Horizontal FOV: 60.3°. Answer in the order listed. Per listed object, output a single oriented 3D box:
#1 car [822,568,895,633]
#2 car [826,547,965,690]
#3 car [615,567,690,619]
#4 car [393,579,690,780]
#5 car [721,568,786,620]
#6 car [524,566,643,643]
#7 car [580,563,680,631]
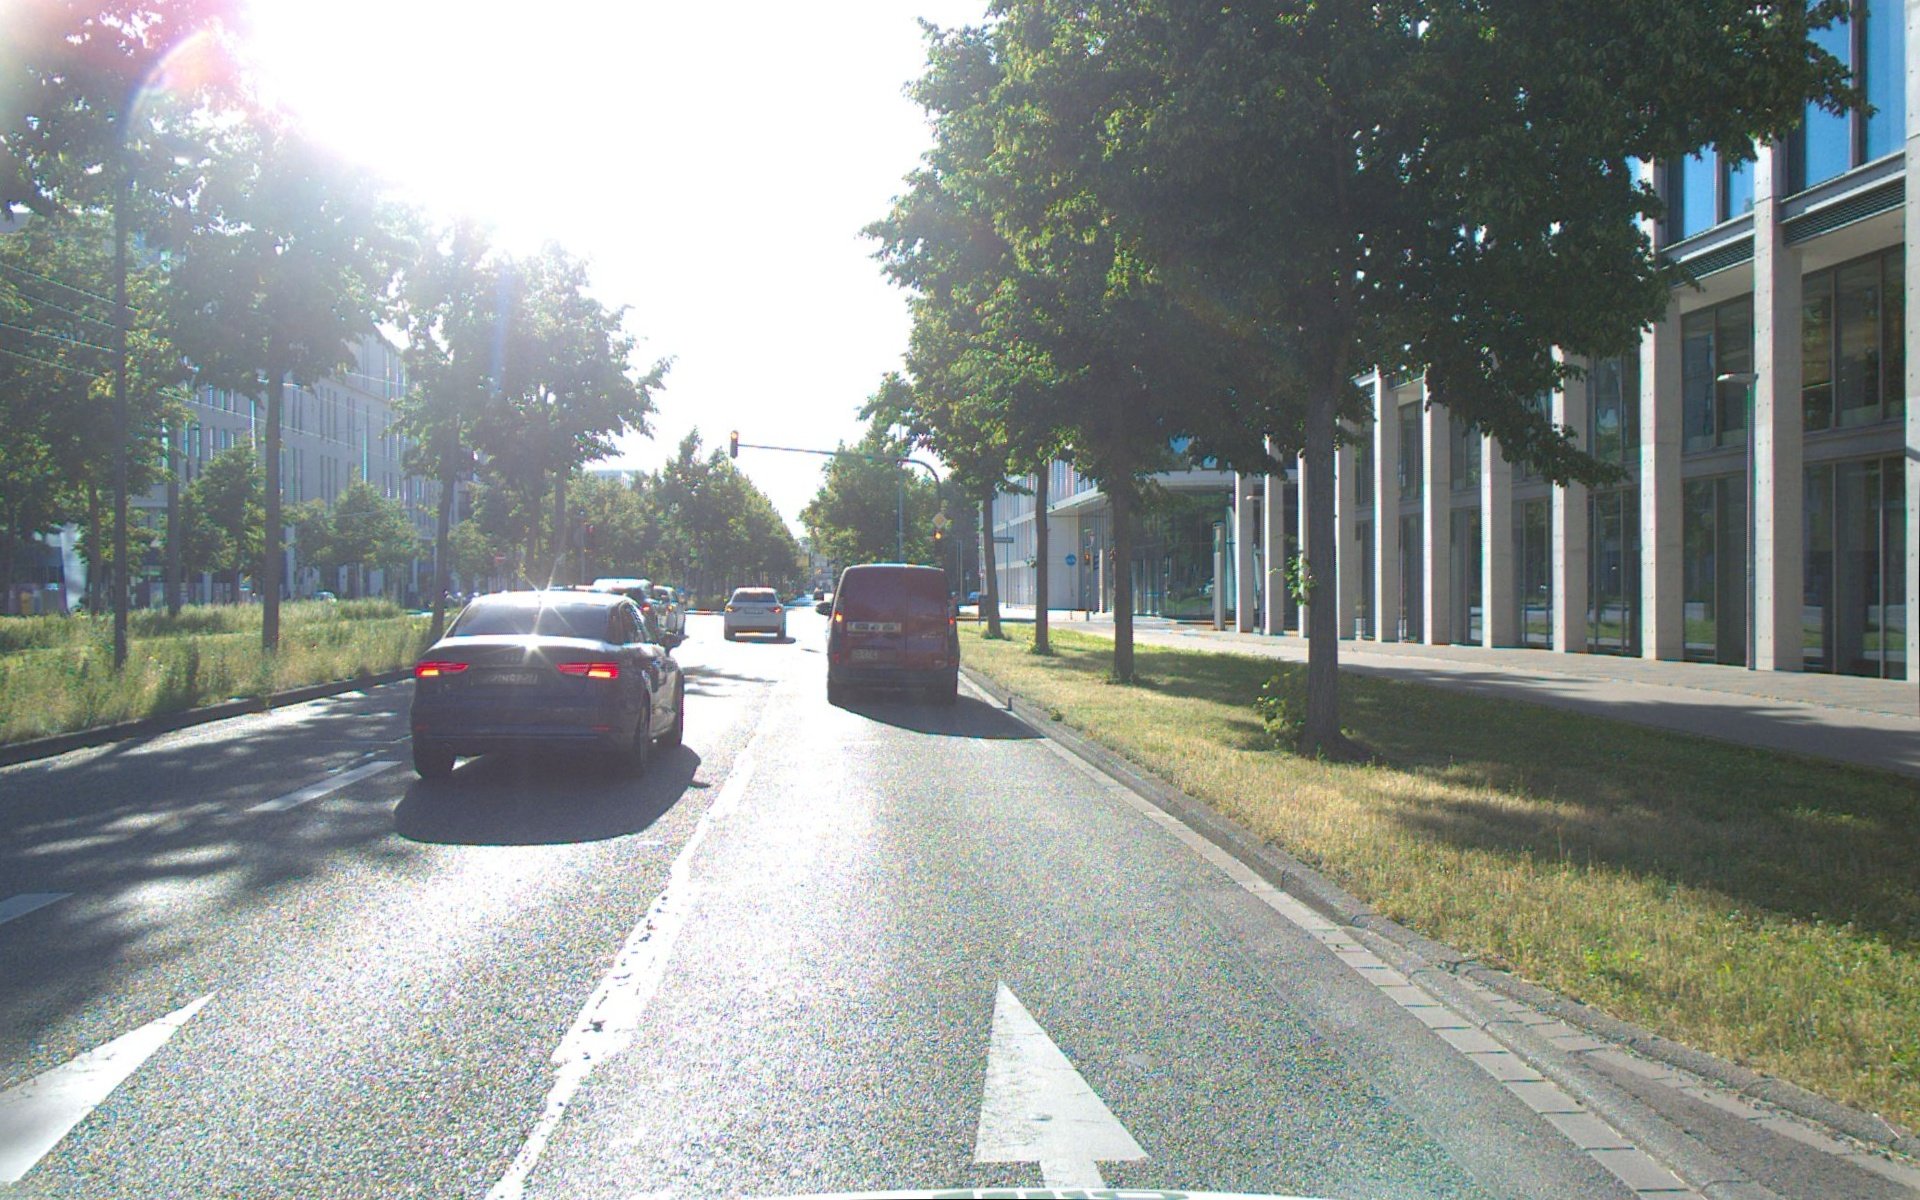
[{"bbox_3d":[-2.584,-0.029,41.361,1.687,1.450,3.813,2,2,-5],"label":"car"},{"bbox_3d":[-0.927,0.171,23.020,1.762,1.807,3.998,0,2,-3],"label":"car"},{"bbox_3d":[-8.880,-0.243,48.016,1.681,1.422,3.997,0,1,-4],"label":"car"},{"bbox_3d":[-3.286,0.533,13.745,1.687,1.390,4.143,0,1,-4],"label":"car"},{"bbox_3d":[-5.899,-0.205,47.634,1.687,1.450,3.813,0,1,-5],"label":"car"},{"bbox_3d":[-7.565,0.045,33.590,1.905,1.466,3.995,0,1,-6],"label":"car"},{"bbox_3d":[-7.949,-0.112,40.124,1.806,1.561,3.938,0,1,-3],"label":"car"}]
